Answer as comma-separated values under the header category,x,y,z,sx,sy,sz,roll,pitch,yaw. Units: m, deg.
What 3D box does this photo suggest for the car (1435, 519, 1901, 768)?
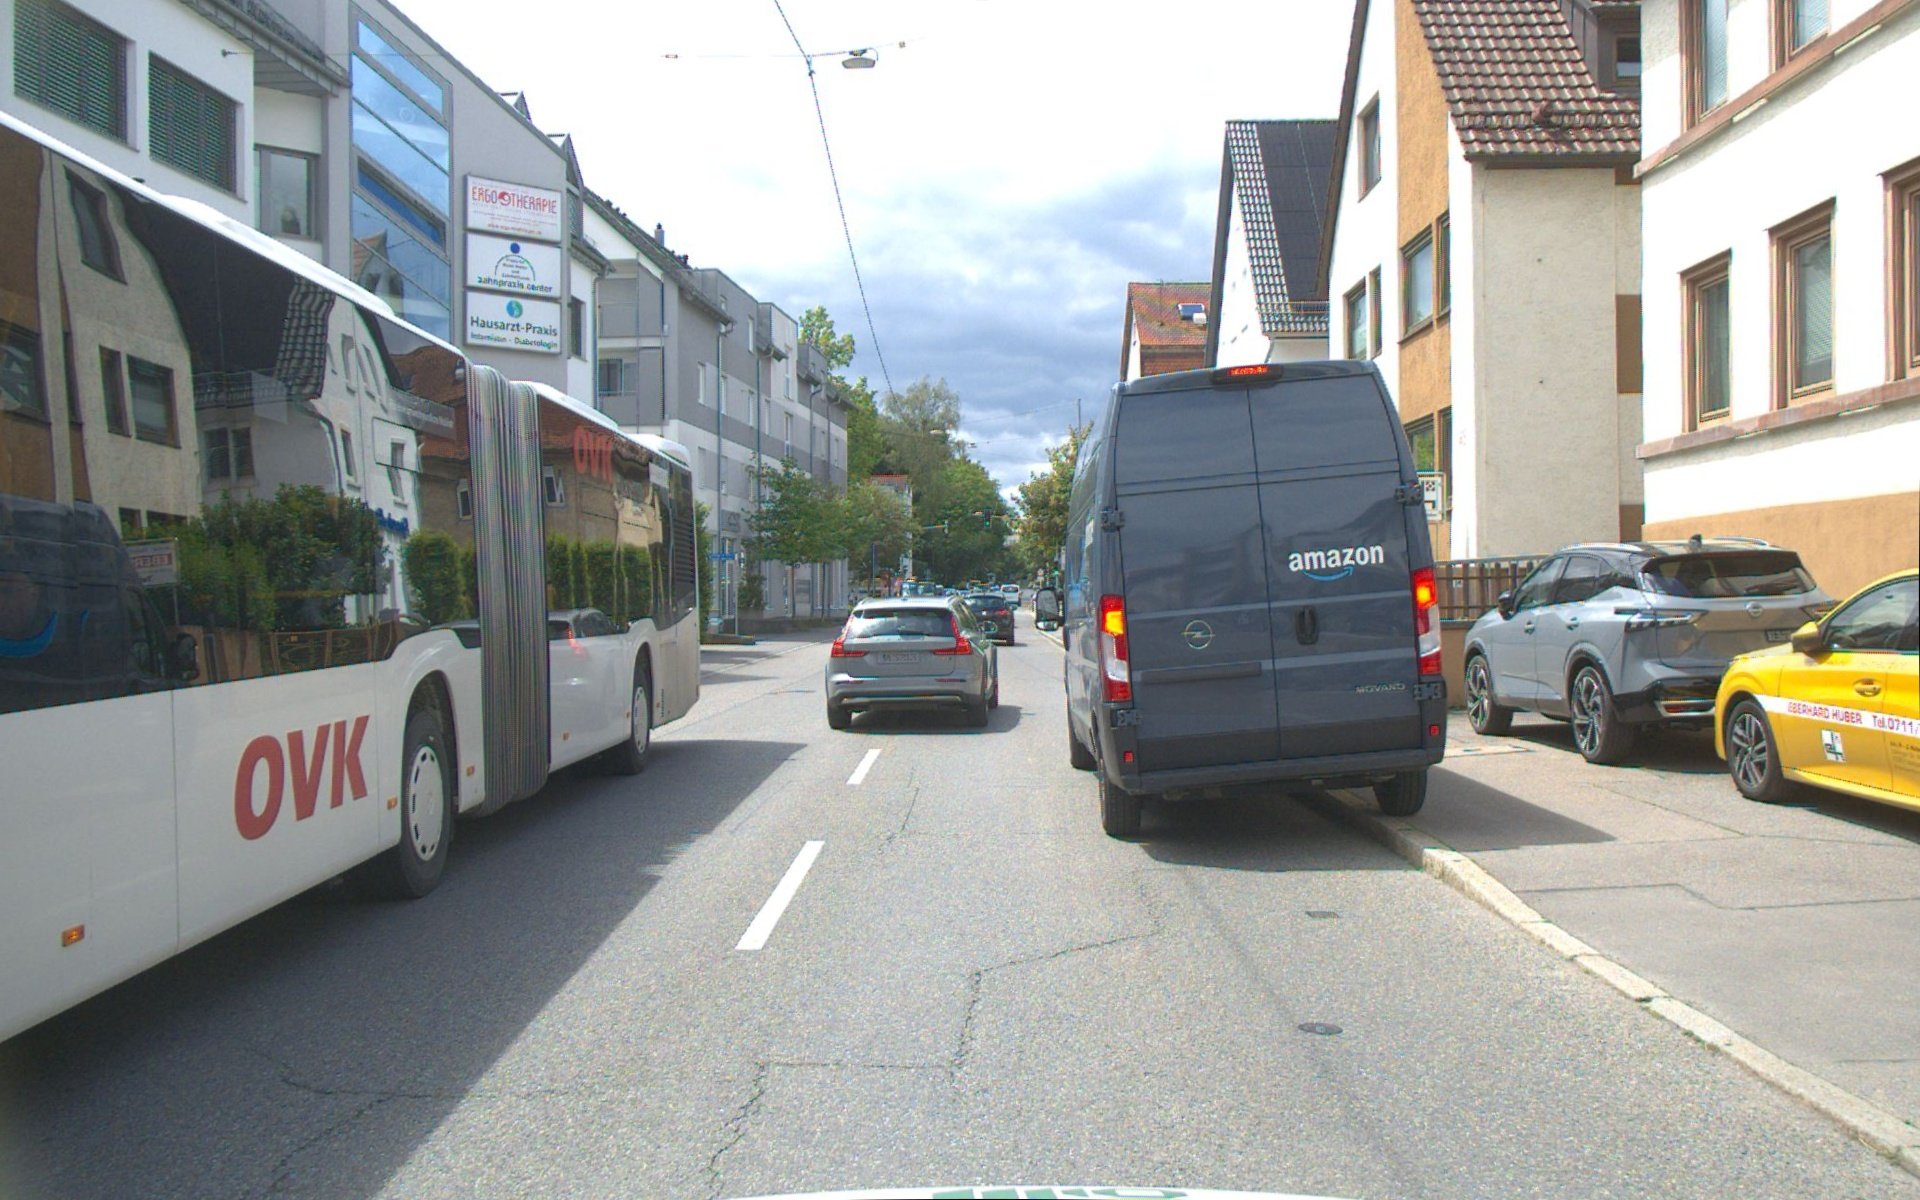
category,x,y,z,sx,sy,sz,roll,pitch,yaw
car,5.500,0.273,13.602,1.822,1.640,4.586,-2,1,0

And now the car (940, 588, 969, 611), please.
category,x,y,z,sx,sy,sz,roll,pitch,yaw
car,-0.419,-0.041,121.795,2.062,1.624,4.650,-1,0,0

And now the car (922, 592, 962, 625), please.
category,x,y,z,sx,sy,sz,roll,pitch,yaw
car,-0.949,0.431,89.166,2.062,1.739,4.765,-1,0,0

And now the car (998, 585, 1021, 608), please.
category,x,y,z,sx,sy,sz,roll,pitch,yaw
car,4.442,-0.328,147.969,1.952,2.049,4.001,-1,0,2

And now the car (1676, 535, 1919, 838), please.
category,x,y,z,sx,sy,sz,roll,pitch,yaw
car,5.711,0.416,8.813,1.839,1.472,4.307,-1,3,-1

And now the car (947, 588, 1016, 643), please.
category,x,y,z,sx,sy,sz,roll,pitch,yaw
car,0.648,0.419,47.068,1.857,1.472,3.970,-1,0,2

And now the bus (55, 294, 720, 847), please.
category,x,y,z,sx,sy,sz,roll,pitch,yaw
bus,-3.970,-0.198,13.815,2.660,3.219,8.069,-1,0,0

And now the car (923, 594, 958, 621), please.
category,x,y,z,sx,sy,sz,roll,pitch,yaw
car,-1.181,0.441,101.058,2.062,1.624,4.650,-1,0,0

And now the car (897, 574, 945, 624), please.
category,x,y,z,sx,sy,sz,roll,pitch,yaw
car,-1.788,-0.068,77.076,2.062,2.158,4.765,-3,0,0

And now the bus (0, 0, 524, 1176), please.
category,x,y,z,sx,sy,sz,roll,pitch,yaw
bus,-3.765,-0.148,4.791,2.628,3.219,10.180,-1,0,-2

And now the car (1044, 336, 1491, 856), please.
category,x,y,z,sx,sy,sz,roll,pitch,yaw
car,1.847,-0.039,11.944,2.206,2.844,5.569,-1,0,0

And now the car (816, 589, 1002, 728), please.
category,x,y,z,sx,sy,sz,roll,pitch,yaw
car,-0.510,0.627,19.902,1.857,1.479,3.970,-1,0,4
